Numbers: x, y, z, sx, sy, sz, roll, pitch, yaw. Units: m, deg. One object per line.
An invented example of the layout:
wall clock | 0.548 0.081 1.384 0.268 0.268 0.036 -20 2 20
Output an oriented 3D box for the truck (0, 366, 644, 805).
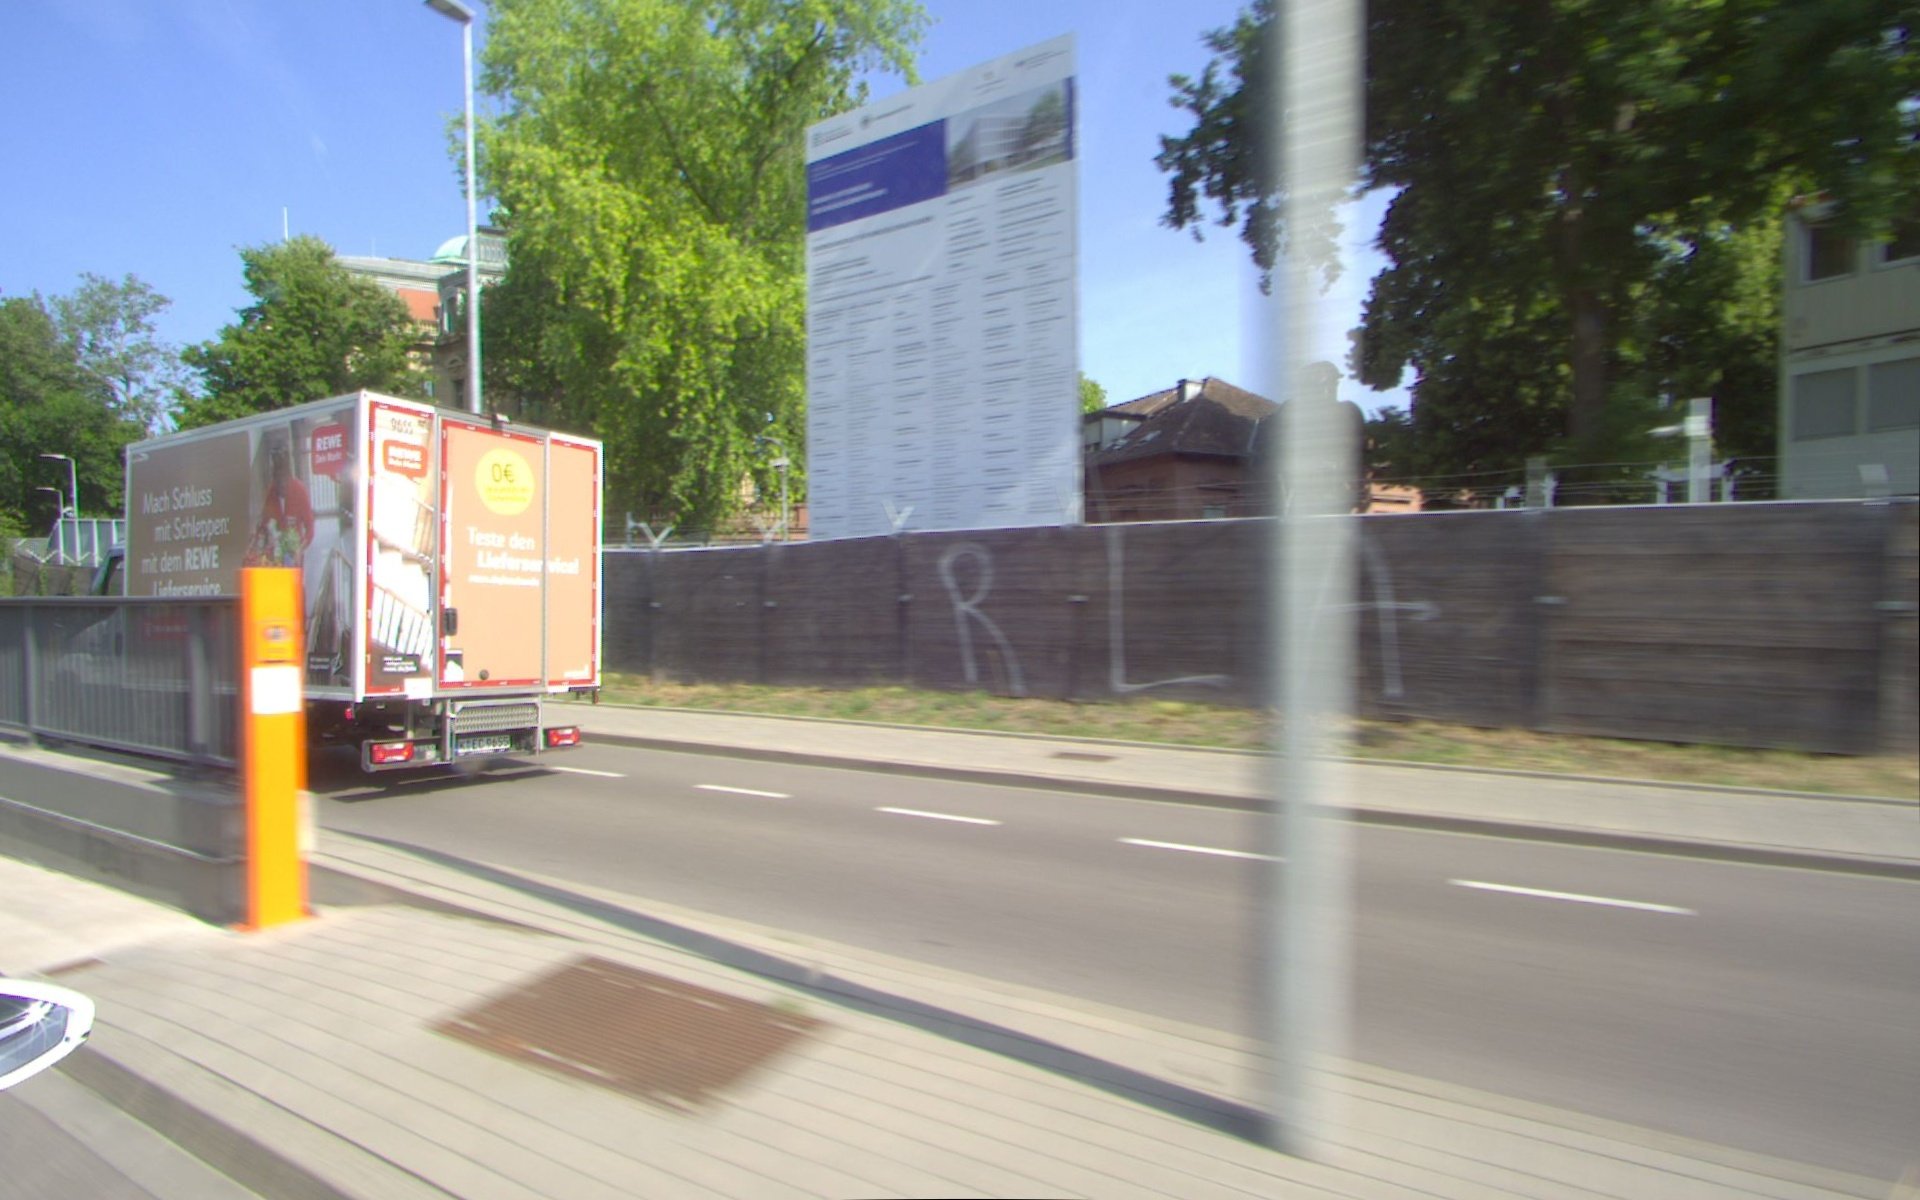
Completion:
truck | -6.863 -0.014 10.137 7.705 3.099 2.499 -1 -2 31
